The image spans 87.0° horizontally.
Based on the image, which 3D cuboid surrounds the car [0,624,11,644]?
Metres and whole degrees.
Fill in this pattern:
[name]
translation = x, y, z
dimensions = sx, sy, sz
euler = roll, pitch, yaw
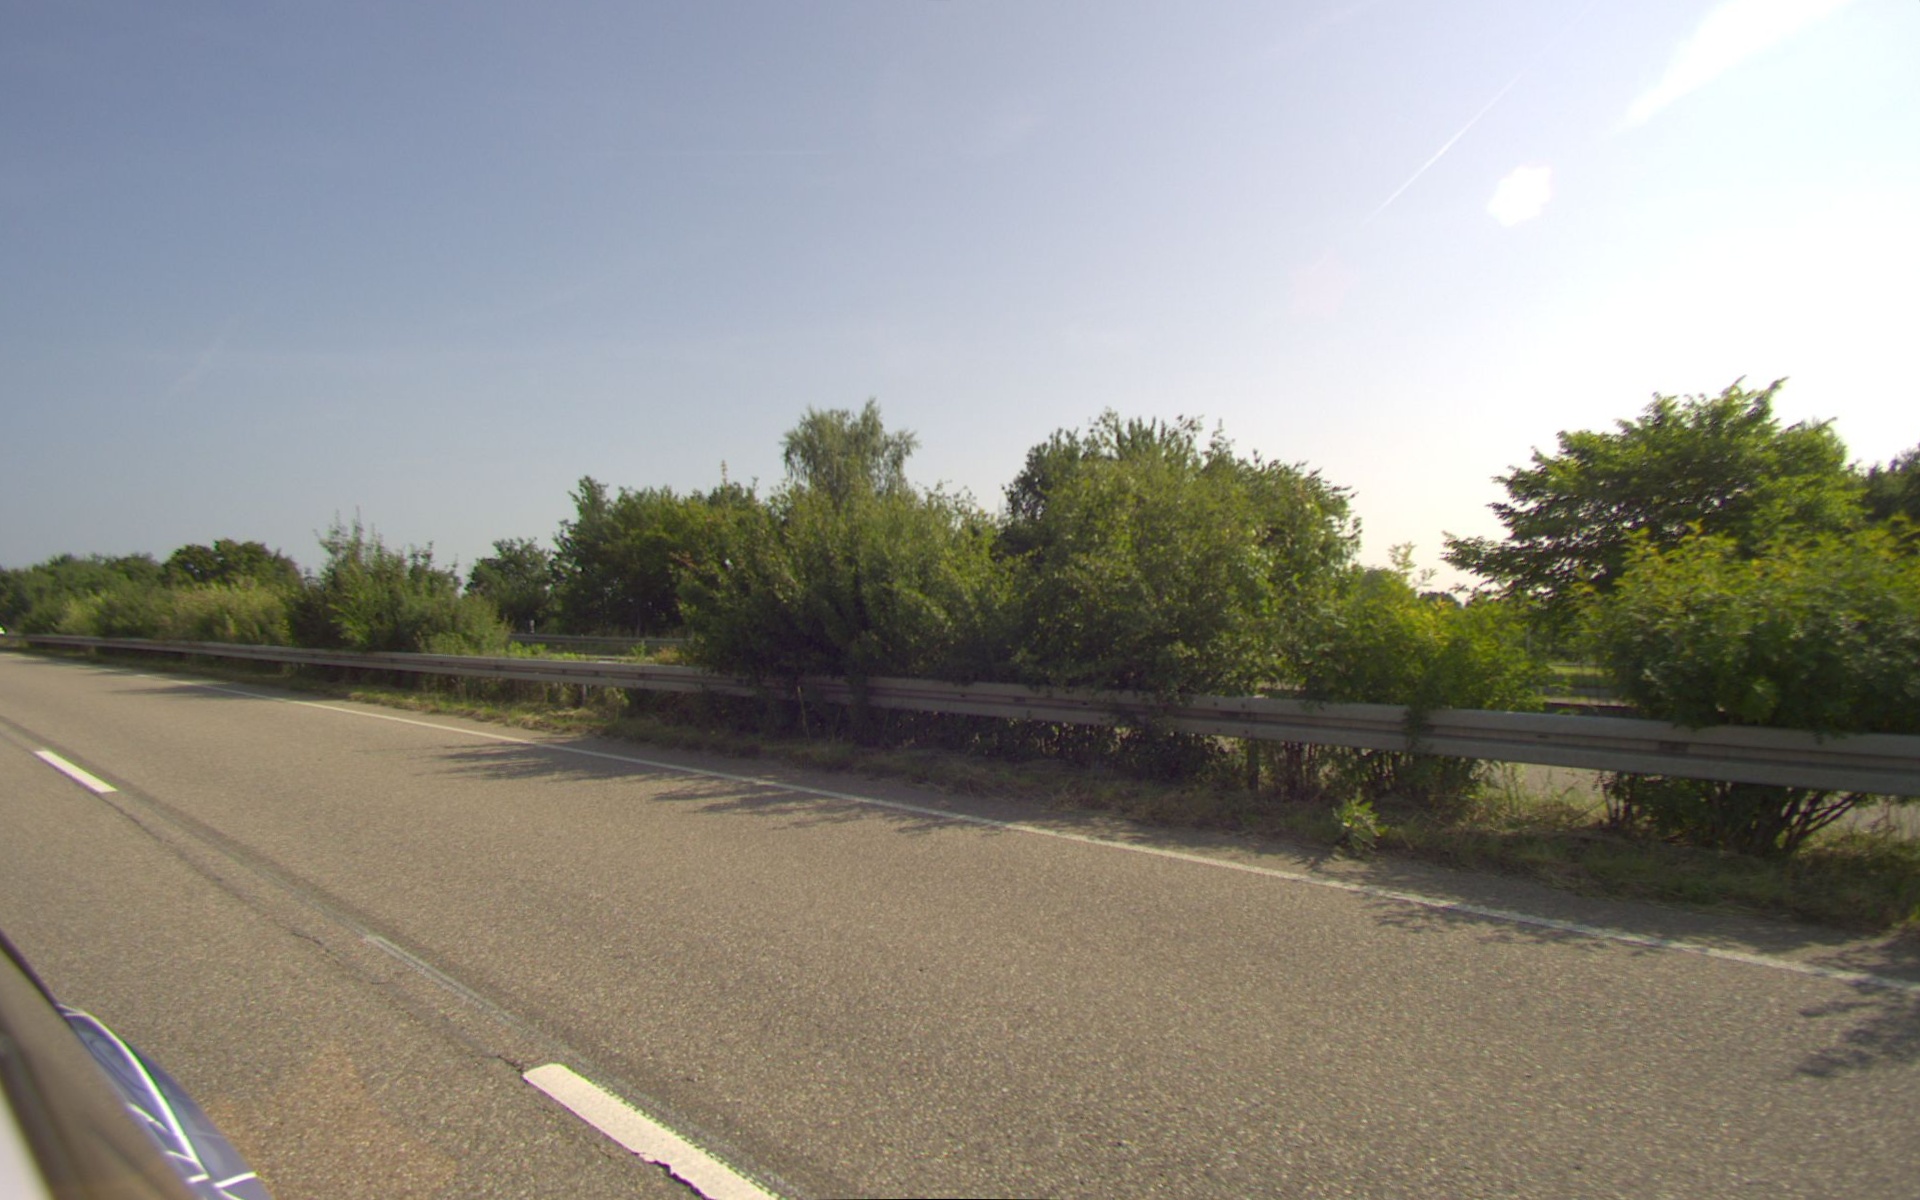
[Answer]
[car]
translation = -77.142, 2.743, 80.464
dimensions = 3.997, 1.588, 1.959
euler = -1, 2, 40
